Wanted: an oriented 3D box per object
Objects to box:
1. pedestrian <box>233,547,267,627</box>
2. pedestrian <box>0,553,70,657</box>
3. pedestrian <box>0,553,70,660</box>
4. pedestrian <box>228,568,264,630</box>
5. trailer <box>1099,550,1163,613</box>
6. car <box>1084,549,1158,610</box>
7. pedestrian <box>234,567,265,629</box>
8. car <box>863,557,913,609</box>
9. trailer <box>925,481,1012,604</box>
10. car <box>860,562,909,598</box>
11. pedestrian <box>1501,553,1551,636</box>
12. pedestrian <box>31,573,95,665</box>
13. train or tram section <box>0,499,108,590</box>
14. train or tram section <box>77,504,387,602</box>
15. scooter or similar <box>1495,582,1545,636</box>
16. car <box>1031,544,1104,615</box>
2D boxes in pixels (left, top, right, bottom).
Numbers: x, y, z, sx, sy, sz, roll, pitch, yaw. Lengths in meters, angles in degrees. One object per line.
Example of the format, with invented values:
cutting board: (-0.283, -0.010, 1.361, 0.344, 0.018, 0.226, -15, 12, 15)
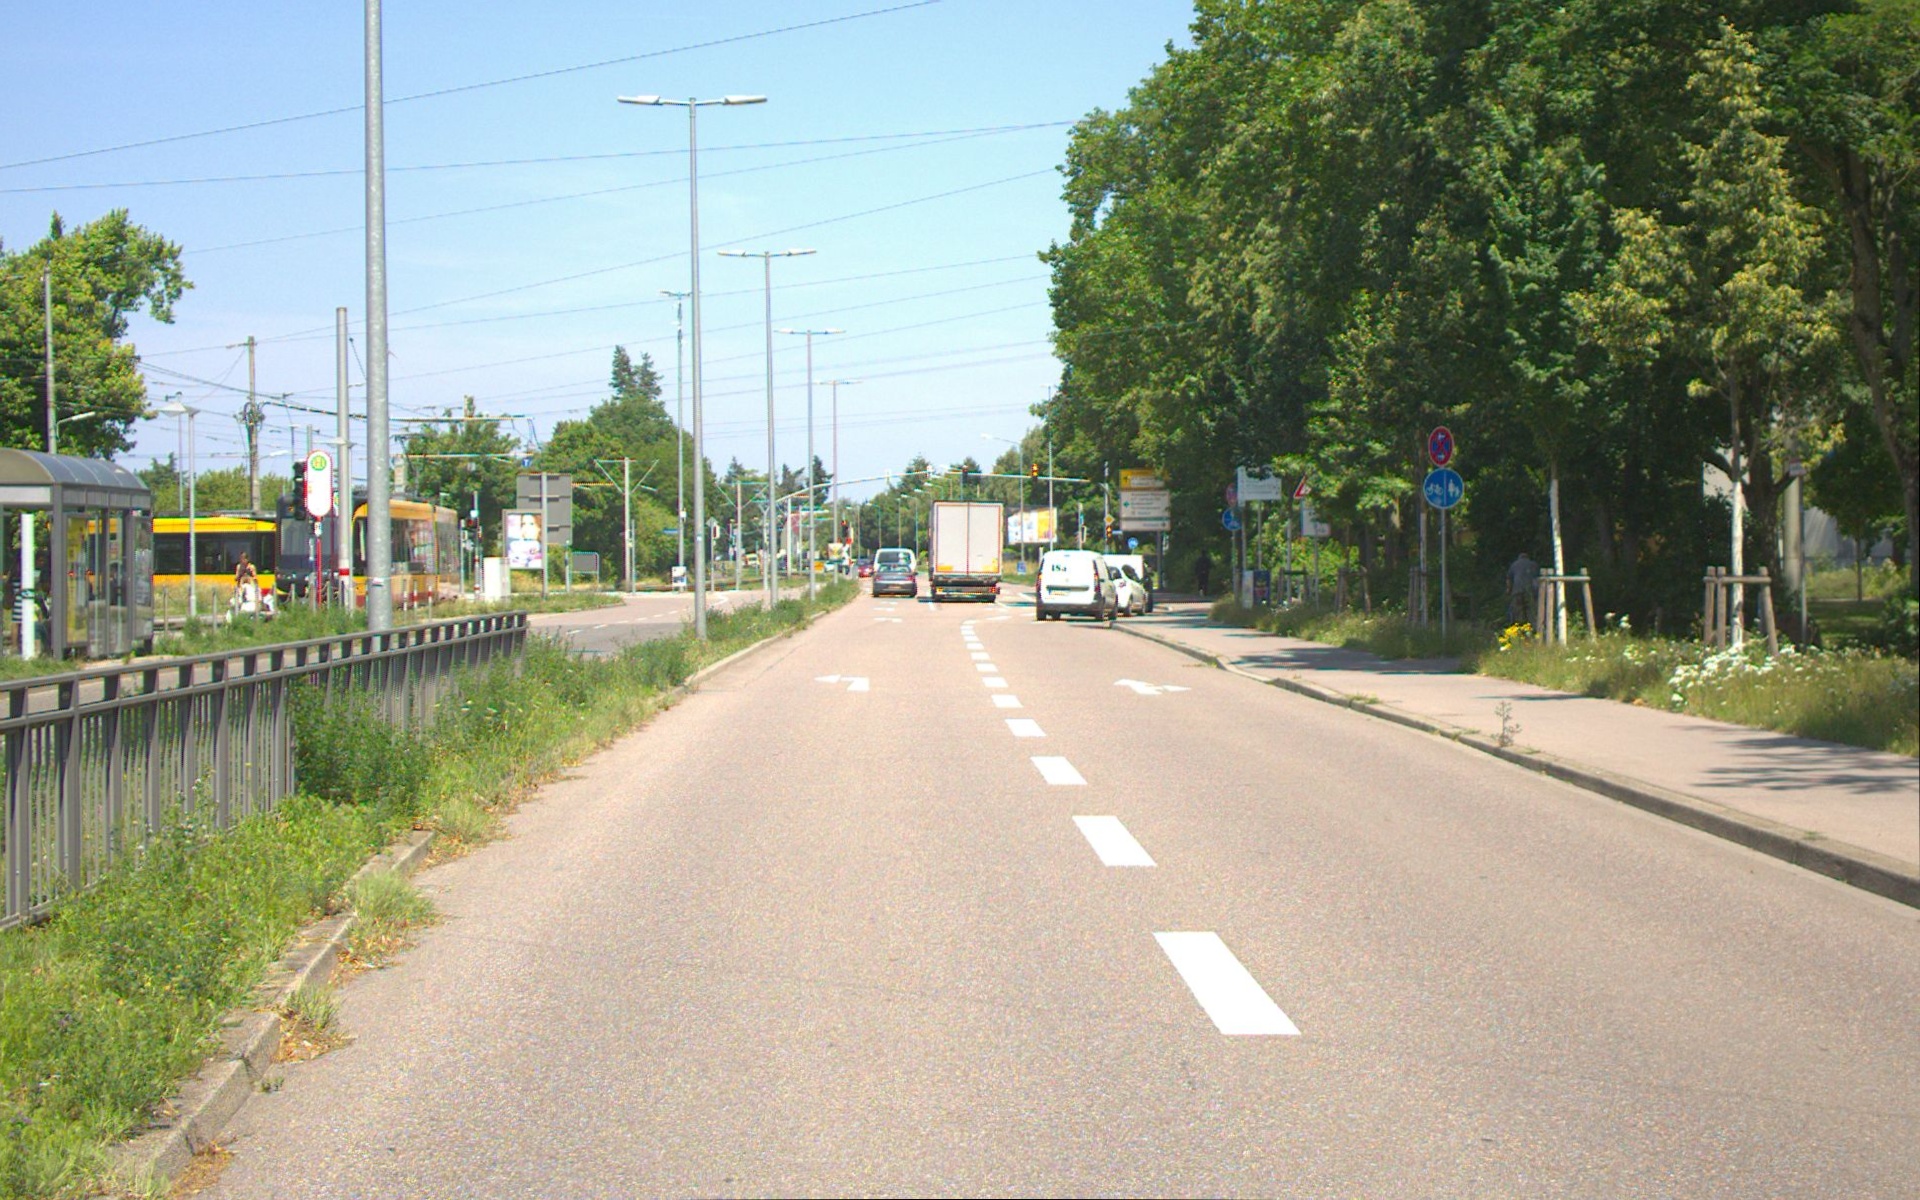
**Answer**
pedestrian: (-13.980, -0.256, 67.702, 0.534, 1.560, 0.582, 1, 1, -2)
pedestrian: (-13.996, 0.066, 51.811, 0.930, 1.541, 0.985, 1, 1, -3)
pedestrian: (-13.688, 0.083, 50.699, 0.874, 1.541, 1.026, 1, 1, -3)
pedestrian: (-13.770, -0.017, 66.289, 0.580, 1.185, 0.536, 1, 1, -2)
trailer: (4.671, -0.524, 93.986, 1.468, 1.663, 2.856, 1, 1, -2)
car: (4.551, -0.595, 97.624, 1.699, 1.648, 4.399, 1, 1, -2)
pedestrian: (-13.804, -0.044, 66.783, 0.494, 1.185, 0.400, 1, 1, 0)
car: (-3.107, -0.744, 147.647, 1.993, 2.104, 4.748, 0, 1, -3)
trailer: (0.275, -2.165, 129.845, 2.827, 4.406, 8.750, 1, 1, -2)
car: (-3.092, -0.843, 140.696, 1.892, 1.367, 4.430, 2, 1, -1)
pedestrian: (9.631, -0.094, 58.539, 0.708, 1.393, 0.763, 1, 1, 0)
pedestrian: (-12.682, 0.262, 48.624, 0.701, 1.279, 0.840, 1, 1, -3)
train or tram section: (-40.213, -2.252, 134.291, 13.226, 3.454, 3.045, 1, 1, 7)
train or tram section: (-27.613, -1.813, 129.966, 12.731, 3.454, 3.041, 2, 1, 31)
scooter or similar: (9.621, 0.150, 59.068, 0.708, 0.890, 0.763, 1, 1, 0)
car: (2.729, -0.551, 88.169, 1.709, 1.741, 4.427, 1, 1, 0)
